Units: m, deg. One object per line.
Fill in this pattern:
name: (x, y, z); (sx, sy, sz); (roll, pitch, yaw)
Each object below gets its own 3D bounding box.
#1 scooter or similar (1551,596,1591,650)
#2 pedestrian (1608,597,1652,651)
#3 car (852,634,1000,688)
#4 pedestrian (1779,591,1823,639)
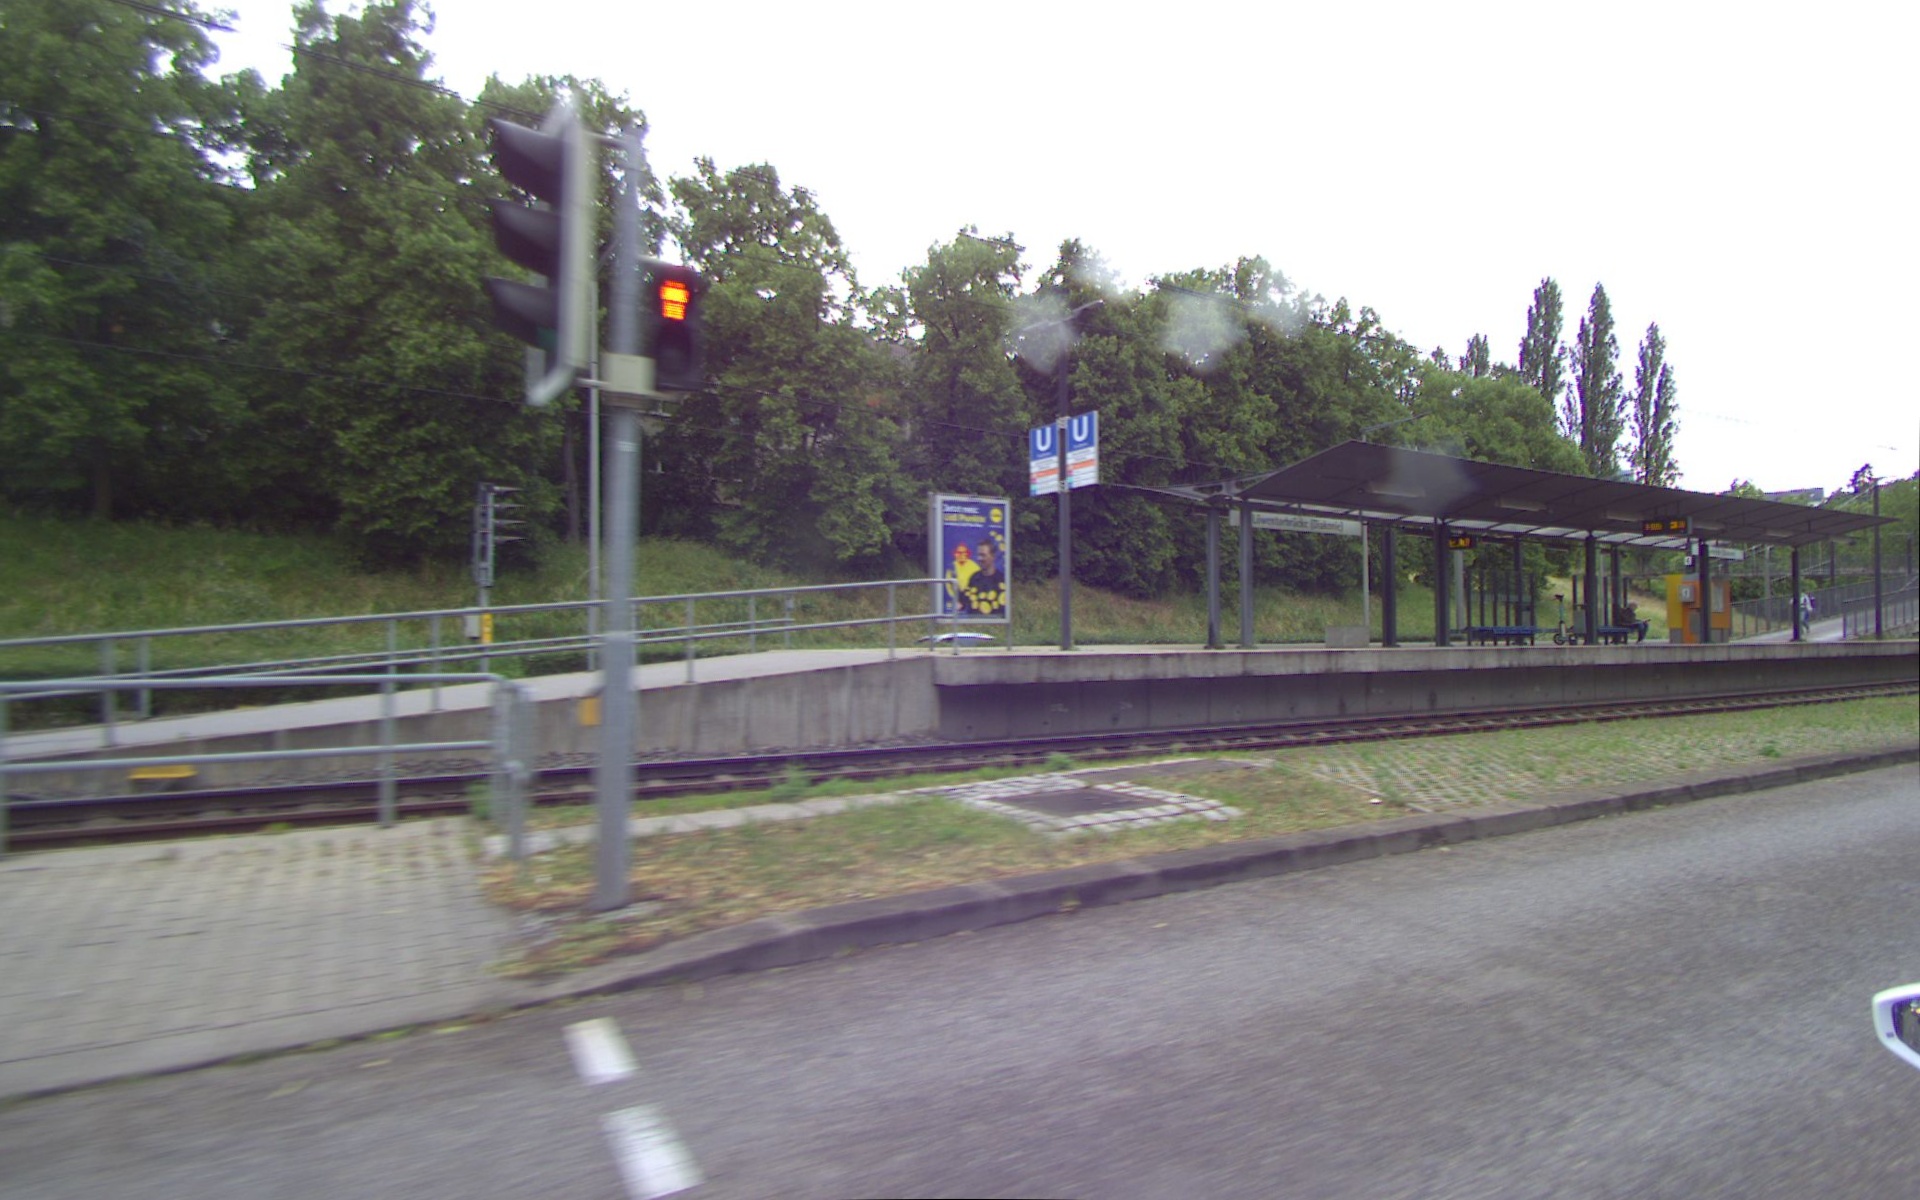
scooter or similar: (14.534, 0.543, 23.900); (0.372, 1.234, 1.301); (2, 0, 13)
pedestrian: (17.465, 0.618, 26.201); (0.685, 1.373, 0.748); (2, -1, -34)
car: (-0.944, 1.724, 29.031); (3.962, 1.422, 1.783); (2, -1, -36)
pedestrian: (29.212, 0.533, 34.901); (1.016, 1.632, 0.929); (2, -1, -34)
